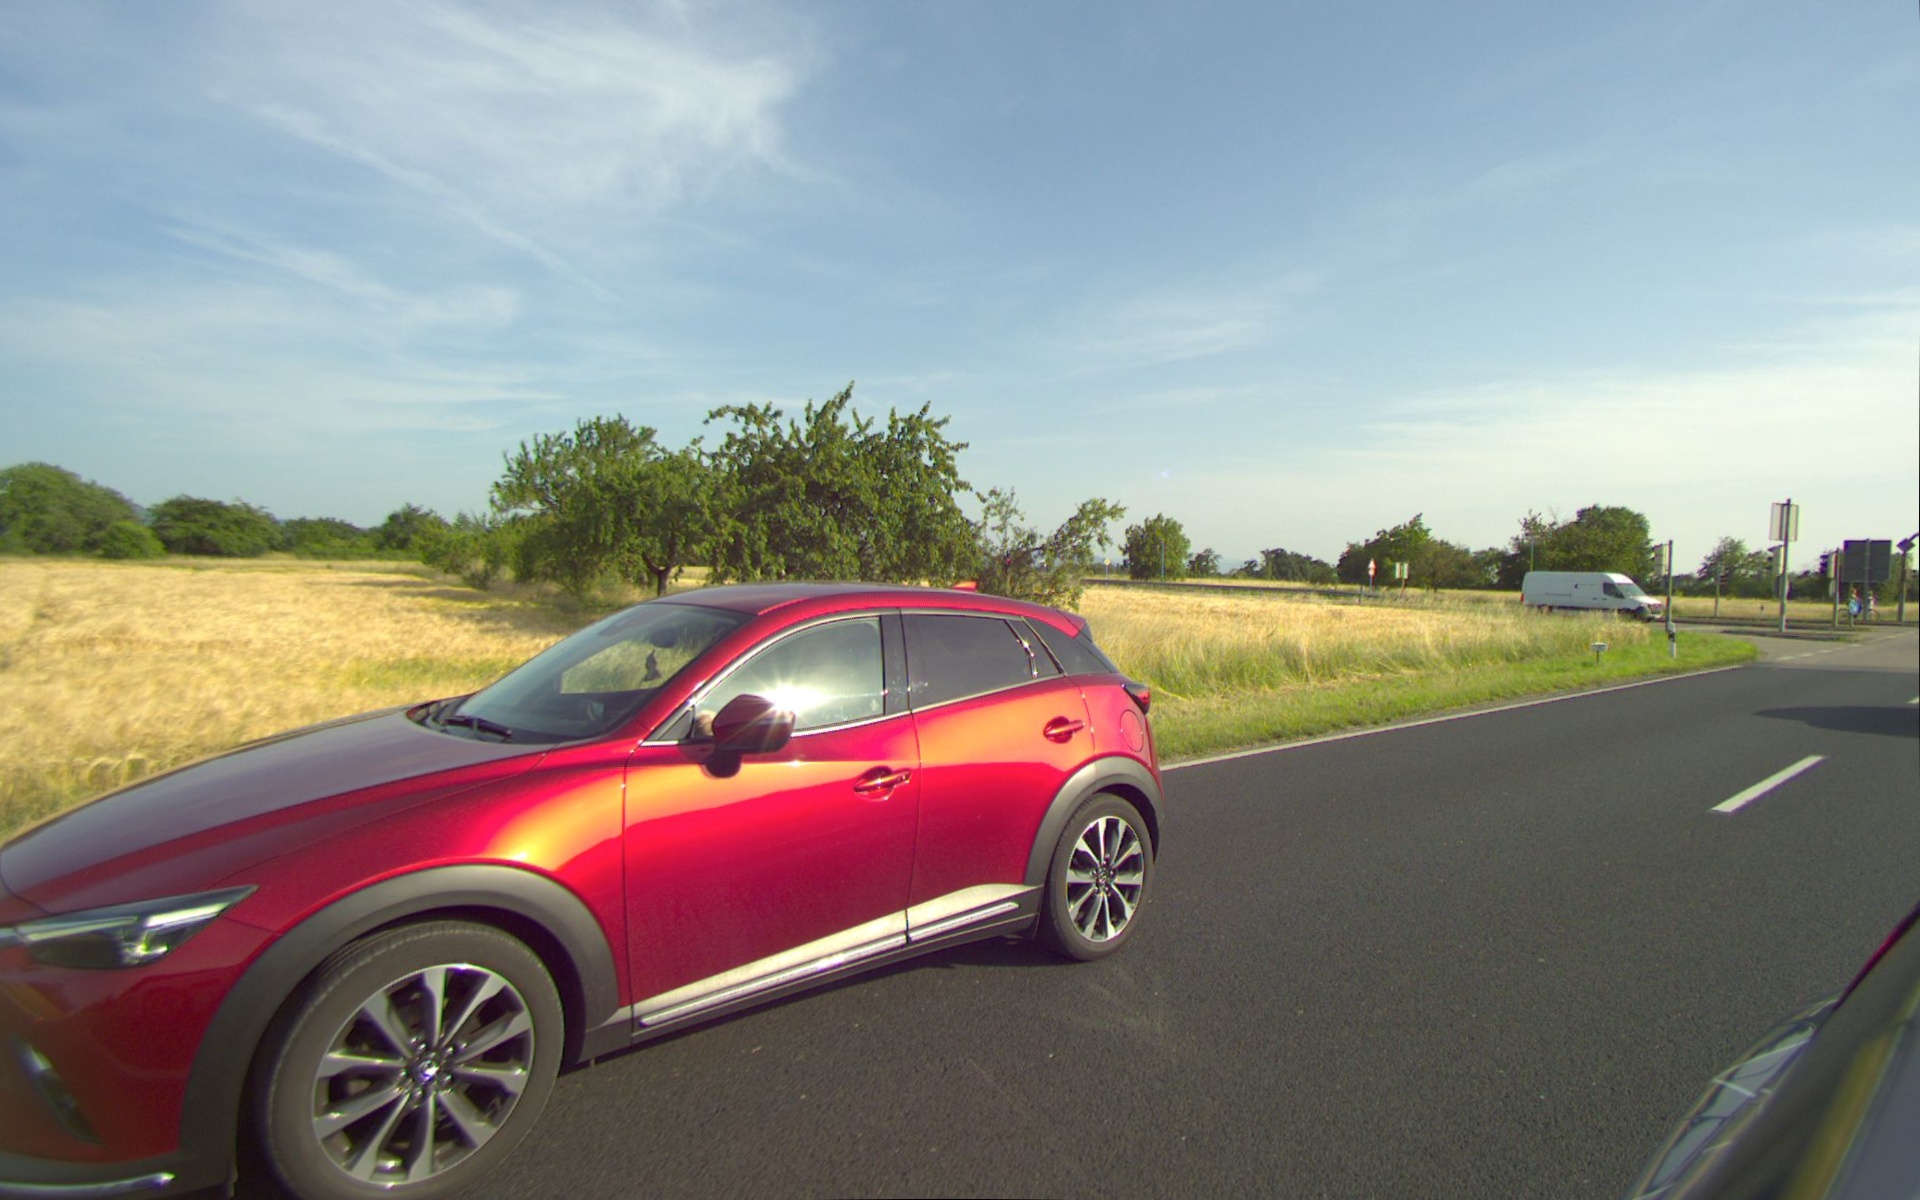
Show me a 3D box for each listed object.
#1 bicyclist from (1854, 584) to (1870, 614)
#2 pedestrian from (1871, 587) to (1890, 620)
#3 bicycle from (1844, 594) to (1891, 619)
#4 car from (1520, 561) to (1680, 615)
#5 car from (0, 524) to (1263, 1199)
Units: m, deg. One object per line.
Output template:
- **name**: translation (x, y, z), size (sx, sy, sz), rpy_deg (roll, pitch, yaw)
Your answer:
- **bicyclist**: translation (49.780, -0.069, 55.836), size (0.495, 1.632, 0.560), rpy_deg (-1, 0, -35)
- **pedestrian**: translation (51.424, 0.190, 56.542), size (0.586, 1.773, 0.624), rpy_deg (-1, 0, -31)
- **bicycle**: translation (49.874, 0.354, 55.647), size (0.519, 1.305, 1.858), rpy_deg (-1, 1, -38)
- **car**: translation (34.233, -0.747, 54.472), size (2.049, 2.702, 7.229), rpy_deg (-1, 2, -27)
- **car**: translation (-0.781, 0.580, 3.945), size (4.423, 1.524, 1.707), rpy_deg (-1, 1, -42)
